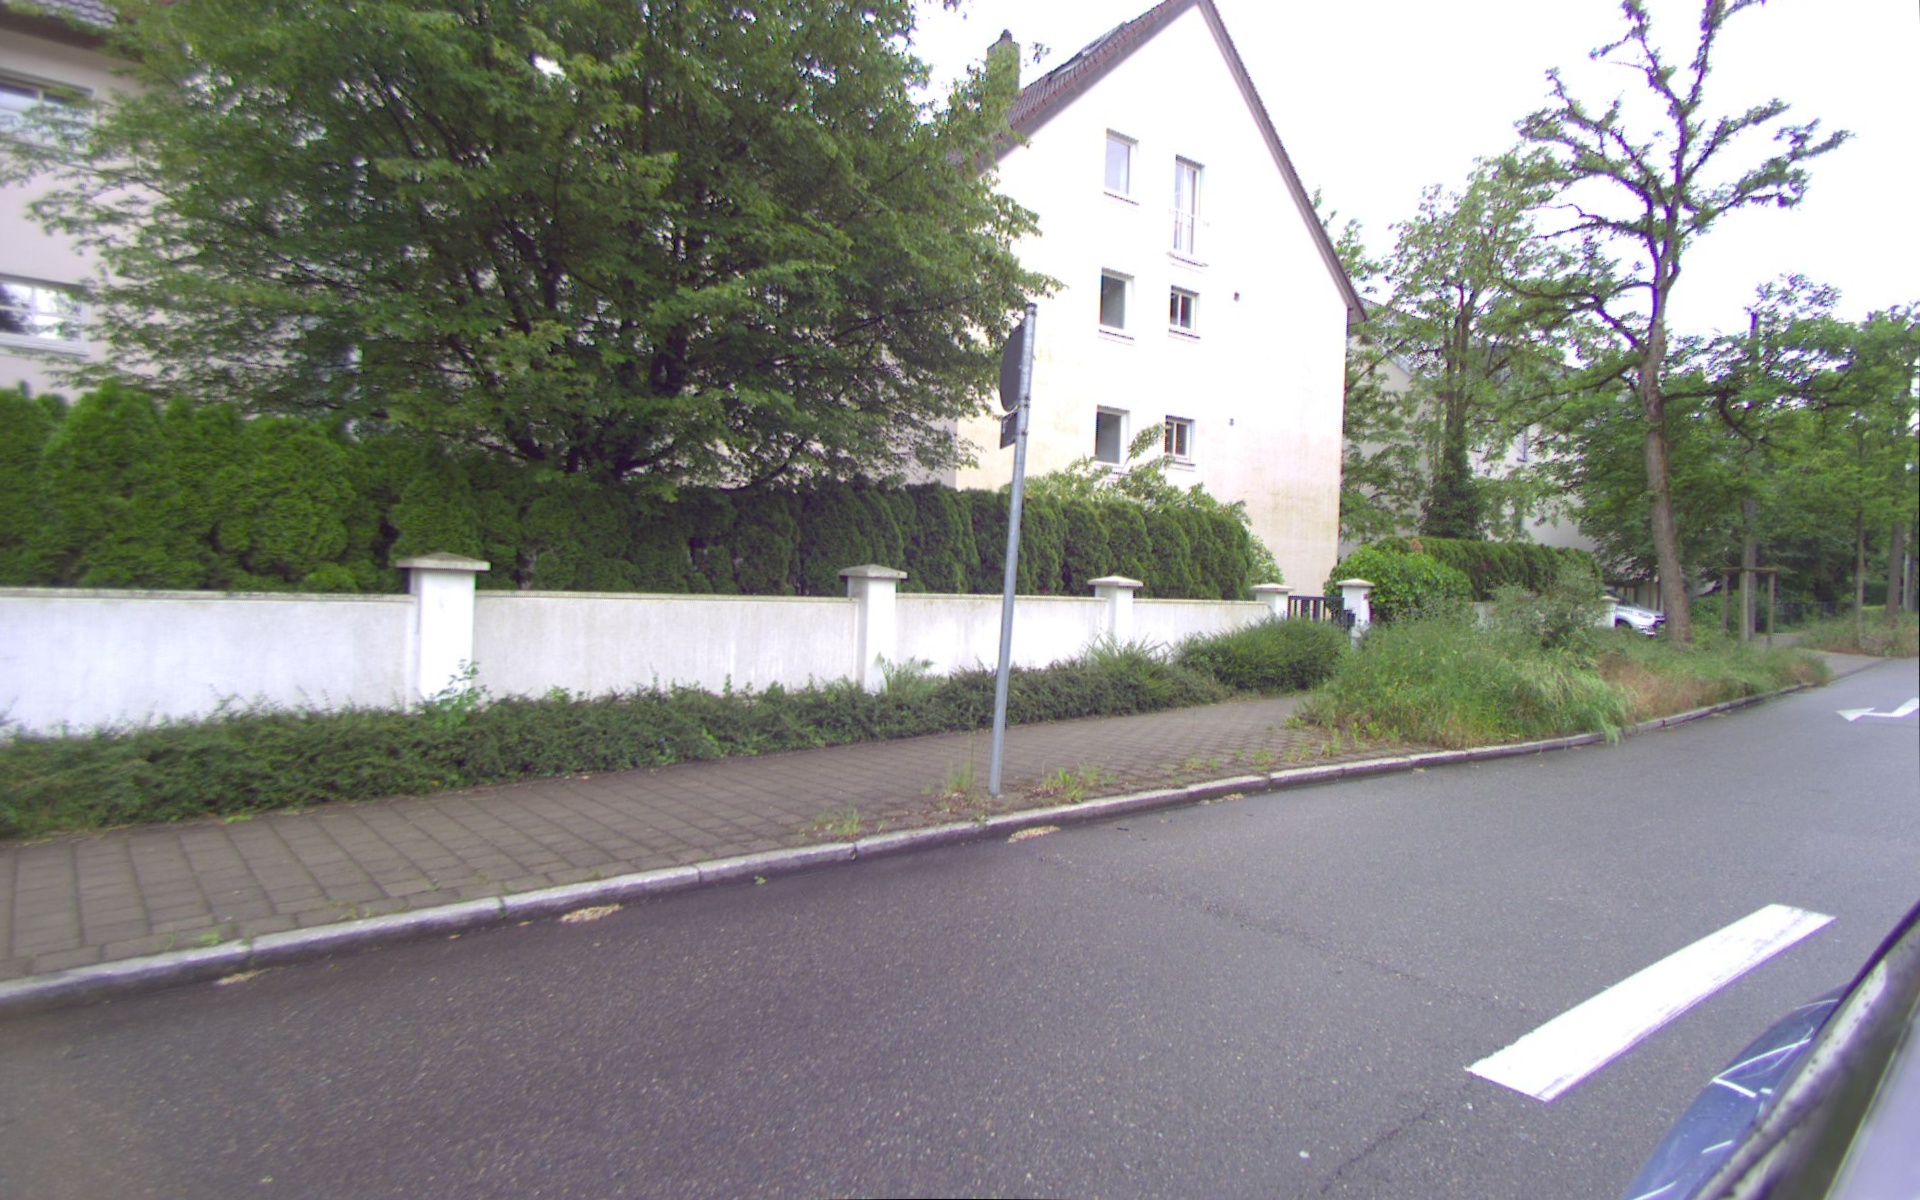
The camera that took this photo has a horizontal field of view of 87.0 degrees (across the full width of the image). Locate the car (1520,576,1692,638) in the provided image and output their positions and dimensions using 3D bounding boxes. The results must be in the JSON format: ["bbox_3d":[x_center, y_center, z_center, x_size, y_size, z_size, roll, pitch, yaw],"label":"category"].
[{"bbox_3d":[20.766,0.174,32.703,1.837,1.840,4.322,0,1,-31],"label":"car"}]
